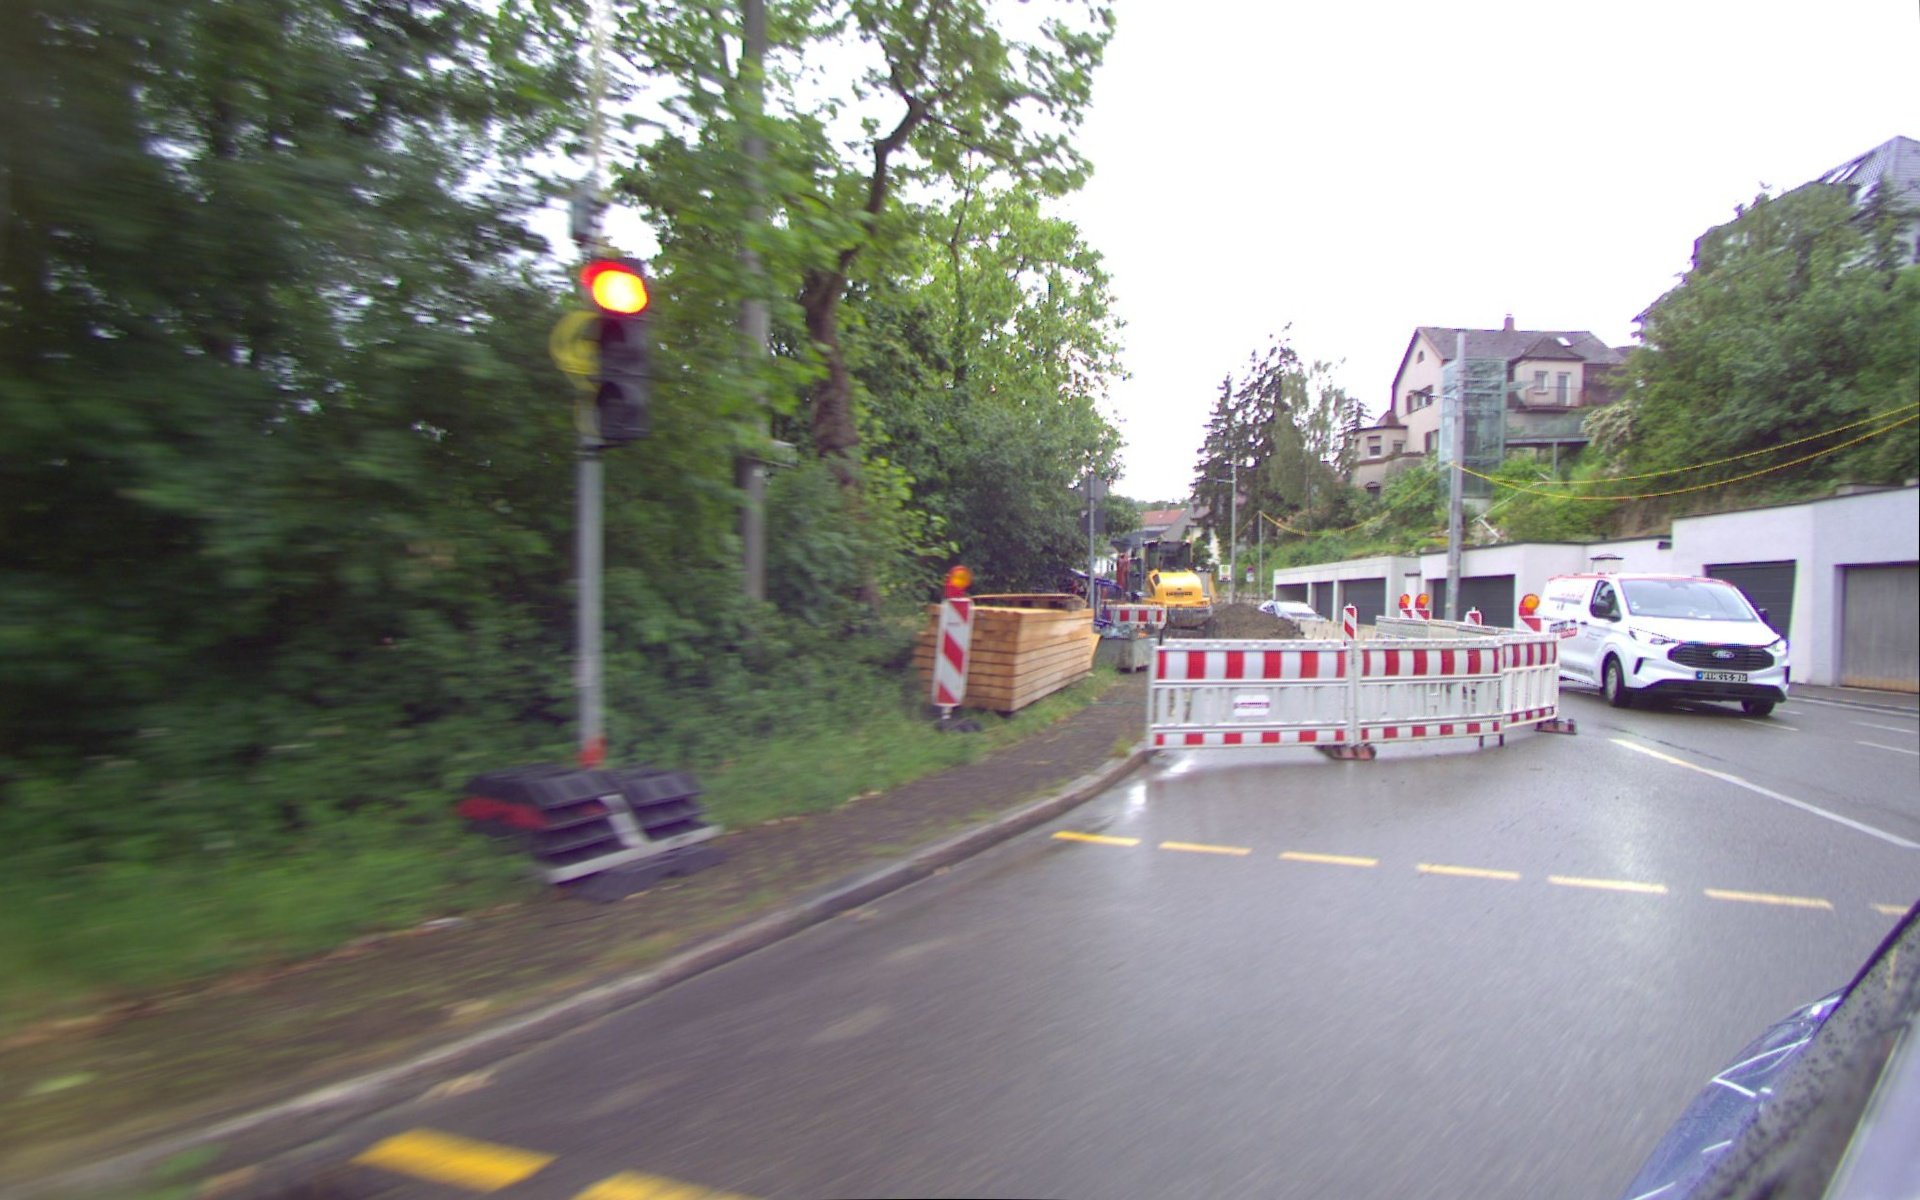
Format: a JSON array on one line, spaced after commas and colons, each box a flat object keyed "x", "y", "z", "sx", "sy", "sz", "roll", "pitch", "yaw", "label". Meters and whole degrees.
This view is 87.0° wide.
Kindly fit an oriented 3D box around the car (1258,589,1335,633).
[{"x": 13.075, "y": 0.410, "z": 39.586, "sx": 1.965, "sy": 1.605, "sz": 3.994, "roll": 0, "pitch": 0, "yaw": 5, "label": "car"}]

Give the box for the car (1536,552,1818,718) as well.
[{"x": 10.727, "y": 0.458, "z": 15.666, "sx": 1.973, "sy": 2.038, "sz": 4.921, "roll": 4, "pitch": 1, "yaw": 17, "label": "car"}]

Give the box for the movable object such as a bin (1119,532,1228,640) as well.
[{"x": 6.623, "y": -0.478, "z": 31.983, "sx": 2.488, "sy": 3.105, "sz": 4.856, "roll": 1, "pitch": 1, "yaw": 2, "label": "movable object such as a bin"}]
